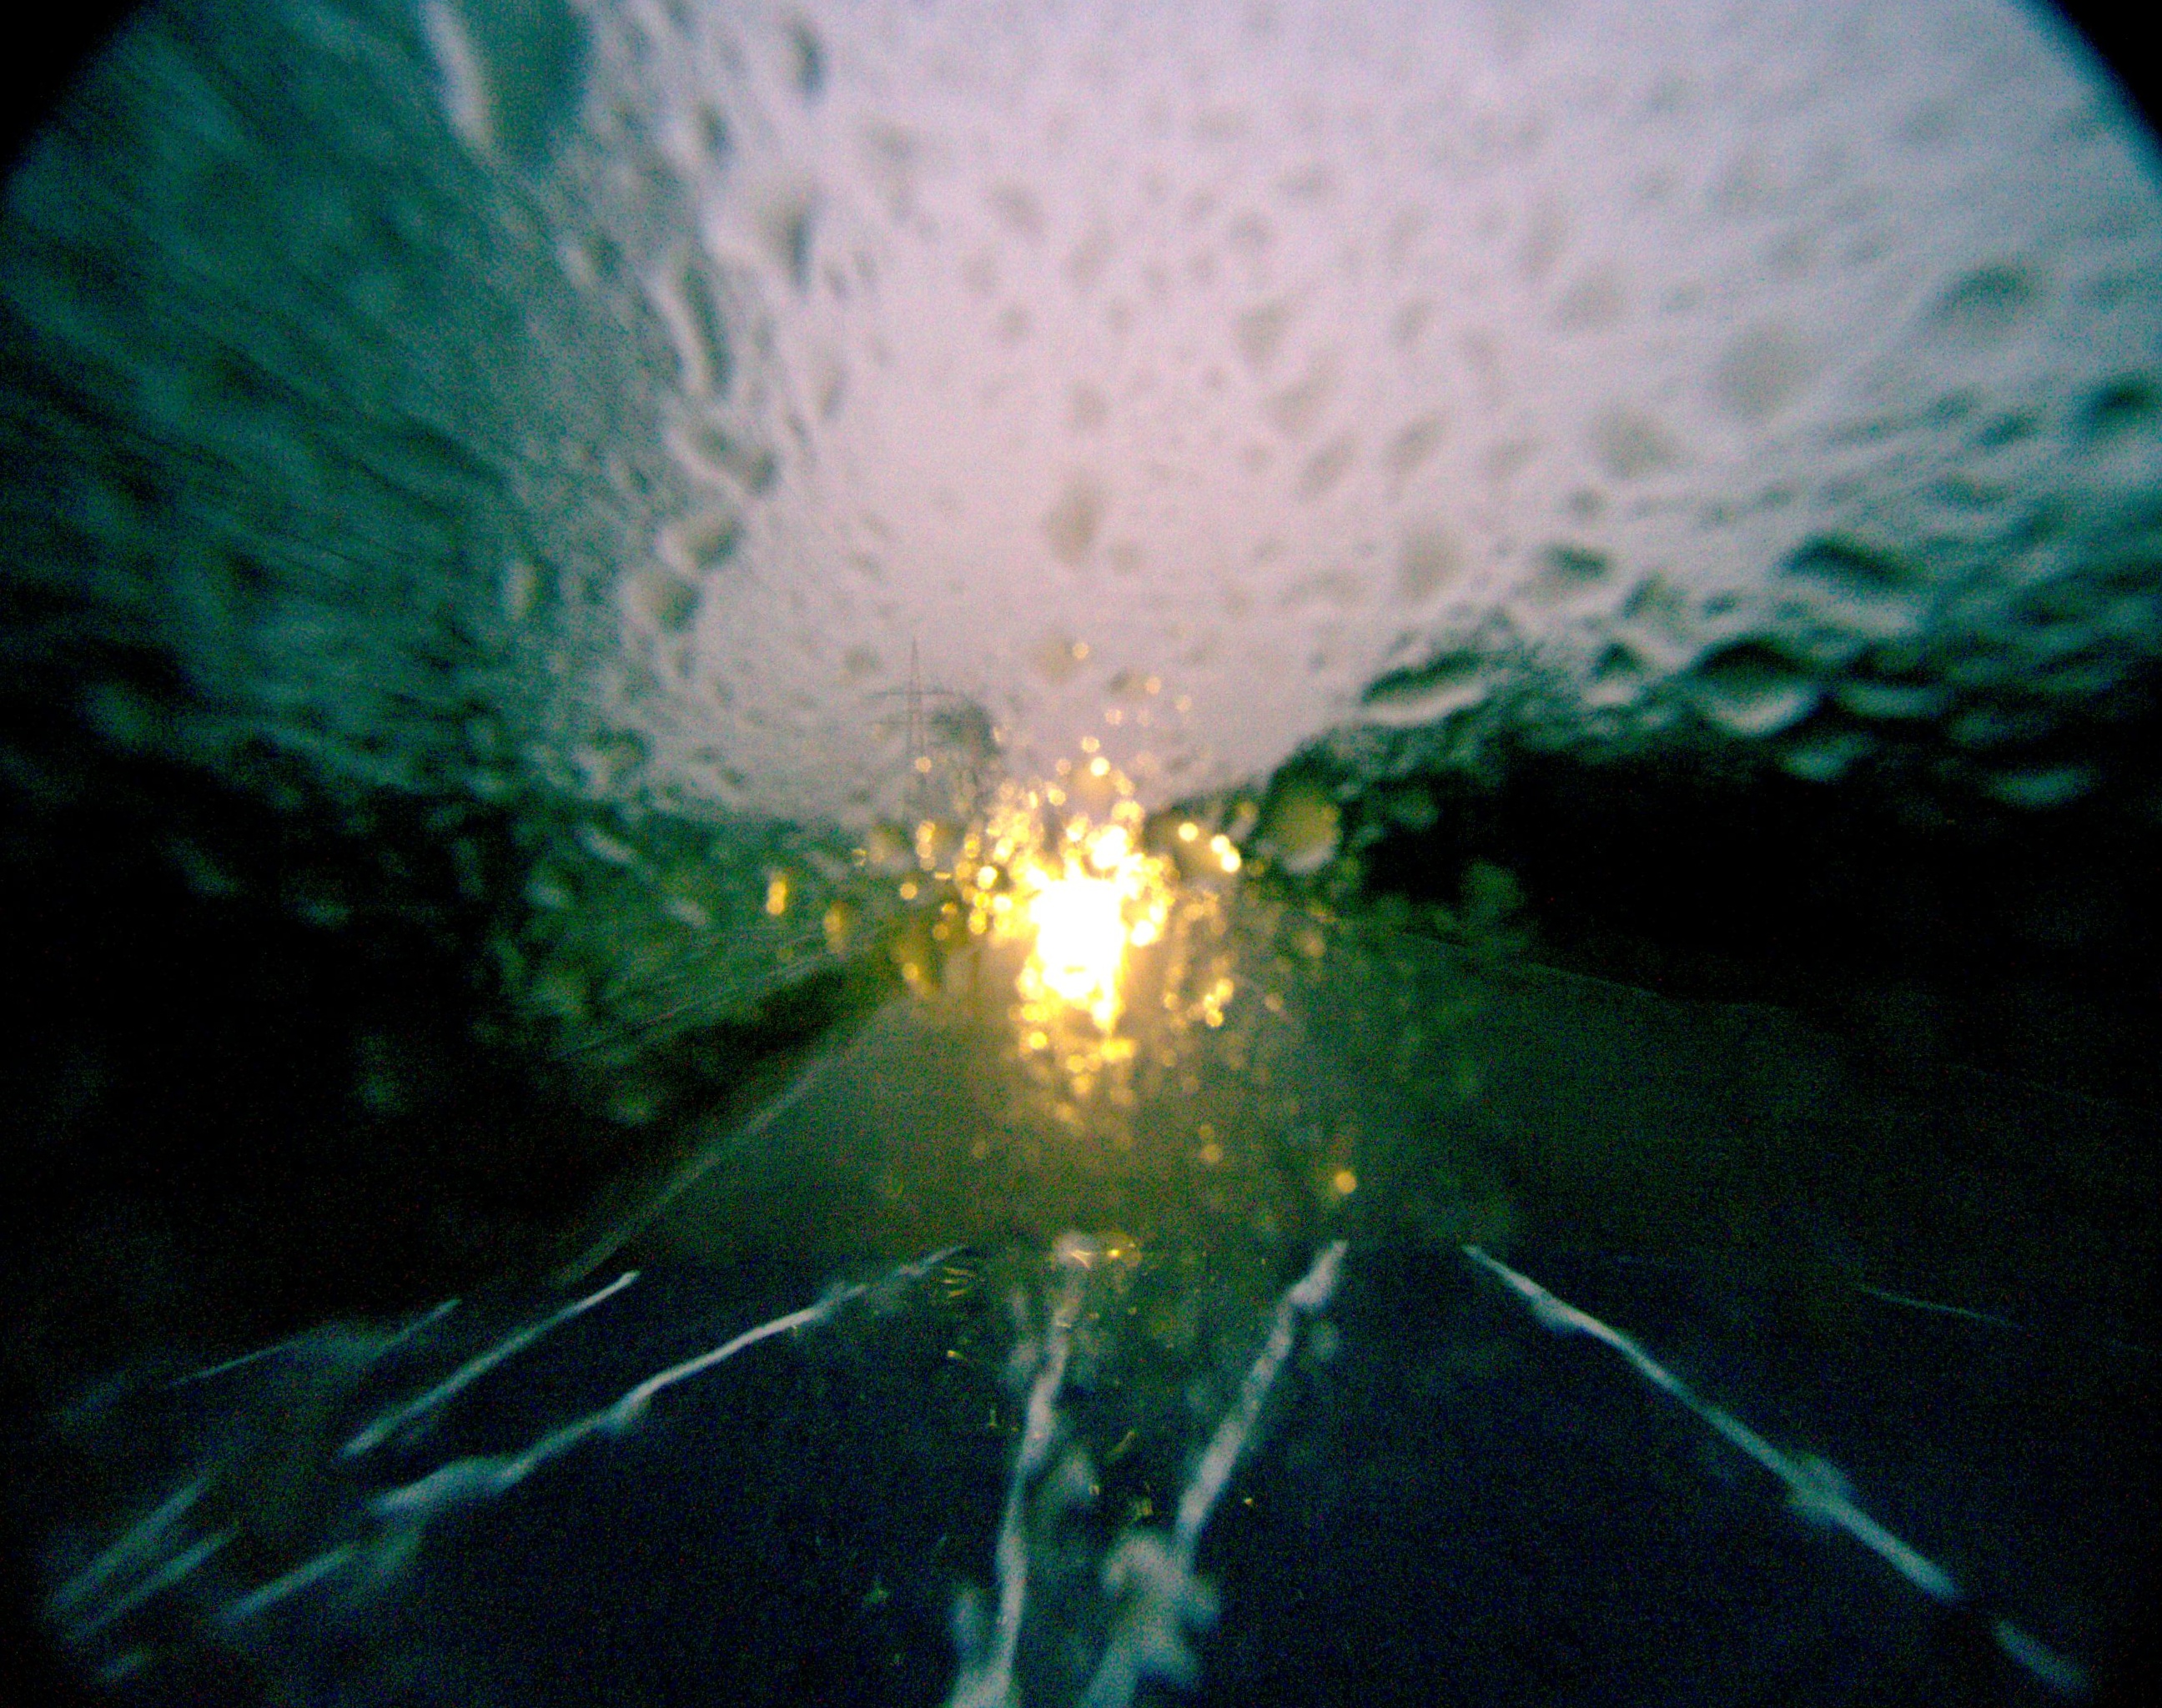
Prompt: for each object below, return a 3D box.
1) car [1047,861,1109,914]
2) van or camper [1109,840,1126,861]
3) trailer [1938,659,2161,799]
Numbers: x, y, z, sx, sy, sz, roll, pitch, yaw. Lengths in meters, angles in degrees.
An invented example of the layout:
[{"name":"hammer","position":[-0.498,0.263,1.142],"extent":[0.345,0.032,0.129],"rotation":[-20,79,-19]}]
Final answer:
[{"name":"car","position":[-0.025,1.120,26.932],"extent":[1.909,1.653,4.001],"rotation":[0,0,4]},{"name":"van or camper","position":[4.846,-0.470,102.417],"extent":[2.026,2.760,6.743],"rotation":[-1,0,1]},{"name":"trailer","position":[25.820,-3.008,16.307],"extent":[2.442,2.874,11.084],"rotation":[-1,0,0]}]
